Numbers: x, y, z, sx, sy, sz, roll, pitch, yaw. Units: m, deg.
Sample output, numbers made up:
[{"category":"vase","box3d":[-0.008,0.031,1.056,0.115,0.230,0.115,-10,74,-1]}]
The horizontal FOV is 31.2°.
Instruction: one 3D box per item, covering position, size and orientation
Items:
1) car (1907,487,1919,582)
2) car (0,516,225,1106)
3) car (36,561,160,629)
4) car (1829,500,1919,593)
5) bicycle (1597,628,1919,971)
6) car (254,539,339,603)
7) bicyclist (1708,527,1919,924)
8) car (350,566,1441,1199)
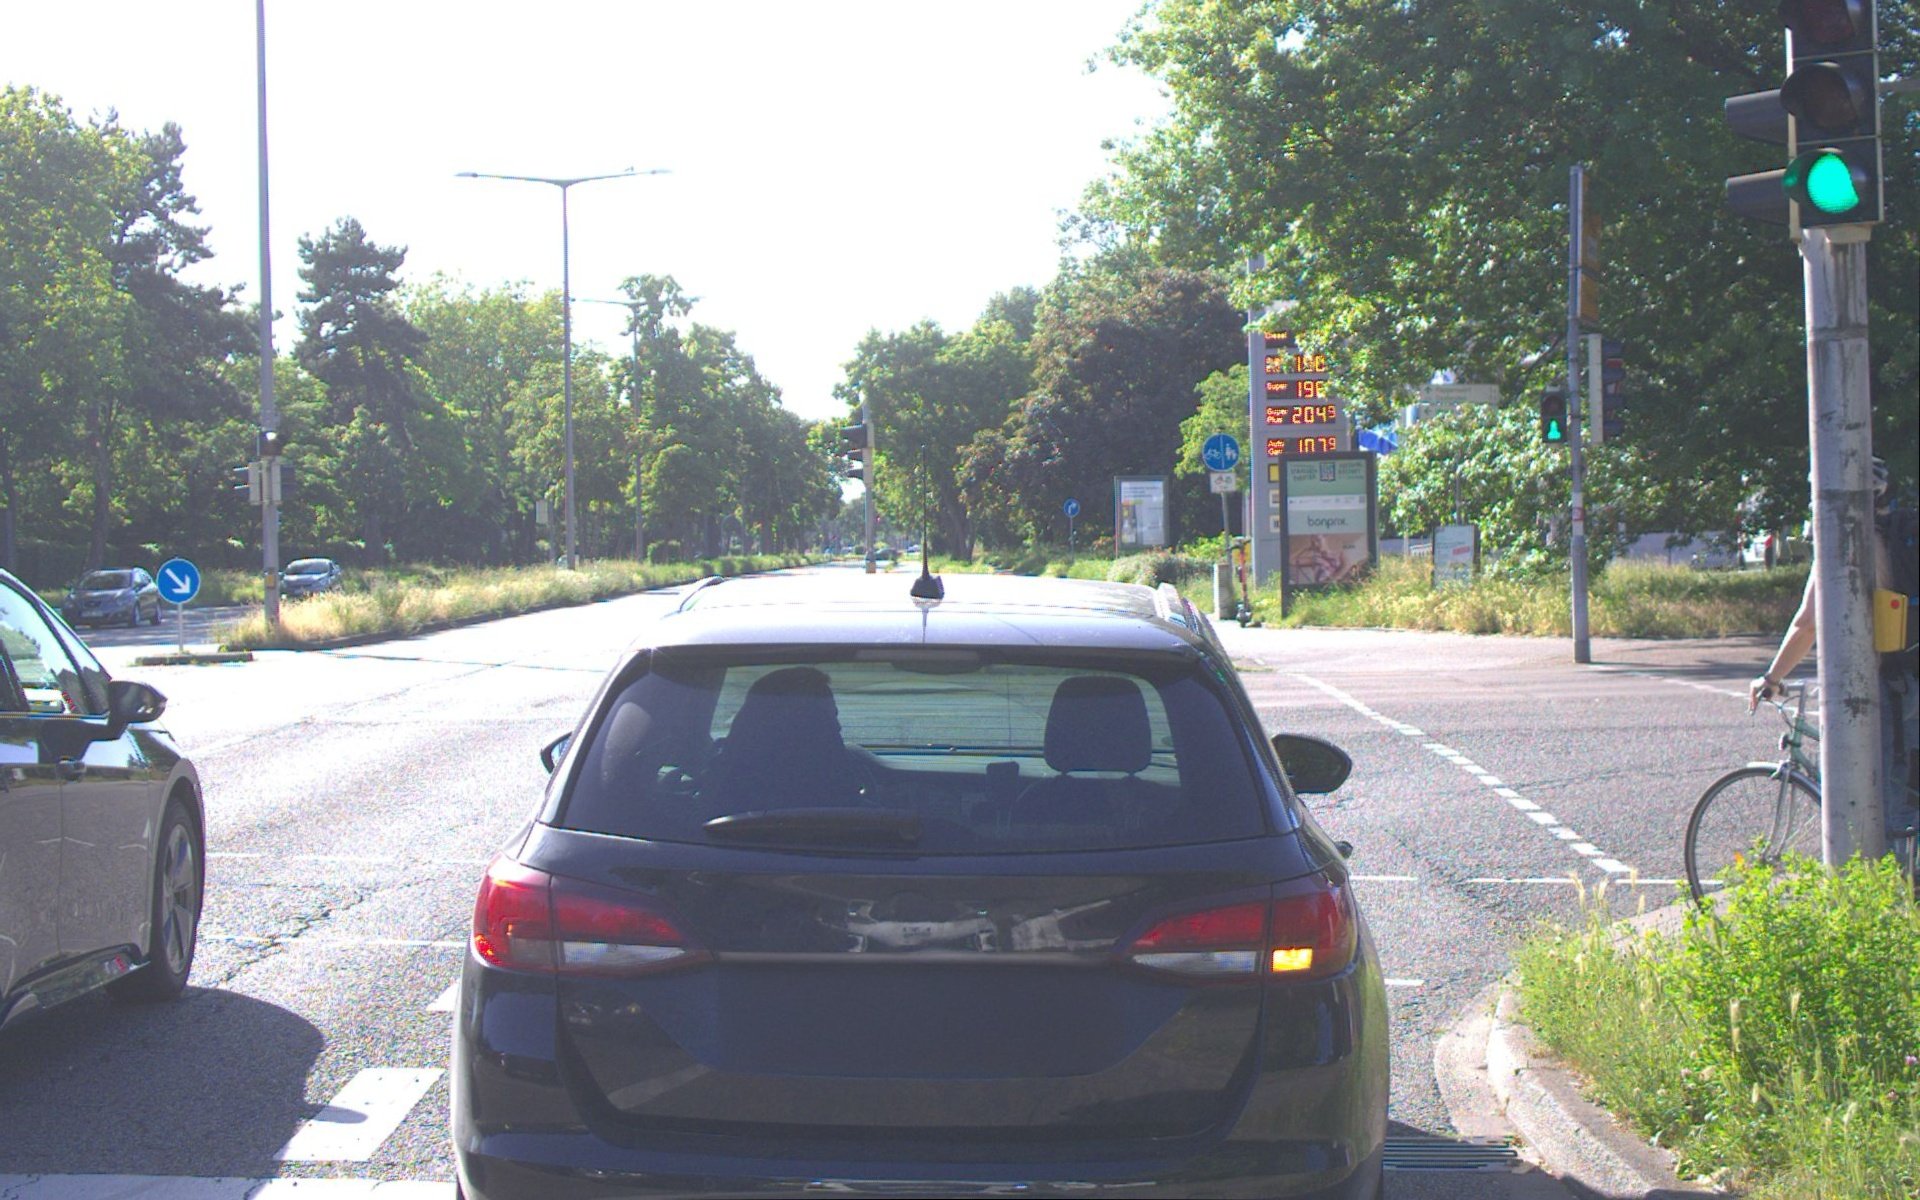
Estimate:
[{"category":"car","box3d":[17.263,-1.089,54.822,3.887,1.512,1.746,-2,1,-23]},{"category":"car","box3d":[-3.412,0.556,9.988,1.684,1.575,4.207,0,0,0]},{"category":"car","box3d":[-20.761,-0.147,82.906,1.993,1.525,4.000,-2,1,-1]},{"category":"car","box3d":[16.794,-0.932,57.908,3.887,1.512,1.746,-2,1,-23]},{"category":"bicycle","box3d":[3.041,0.651,11.465,0.536,1.094,1.775,-2,-1,-43]},{"category":"car","box3d":[-21.715,-0.971,112.597,1.993,2.007,4.000,-2,1,-1]},{"category":"bicyclist","box3d":[3.033,0.410,11.464,0.536,1.273,0.829,-2,-1,-43]},{"category":"car","box3d":[-0.124,0.680,7.654,1.756,1.490,4.207,0,0,0]}]
